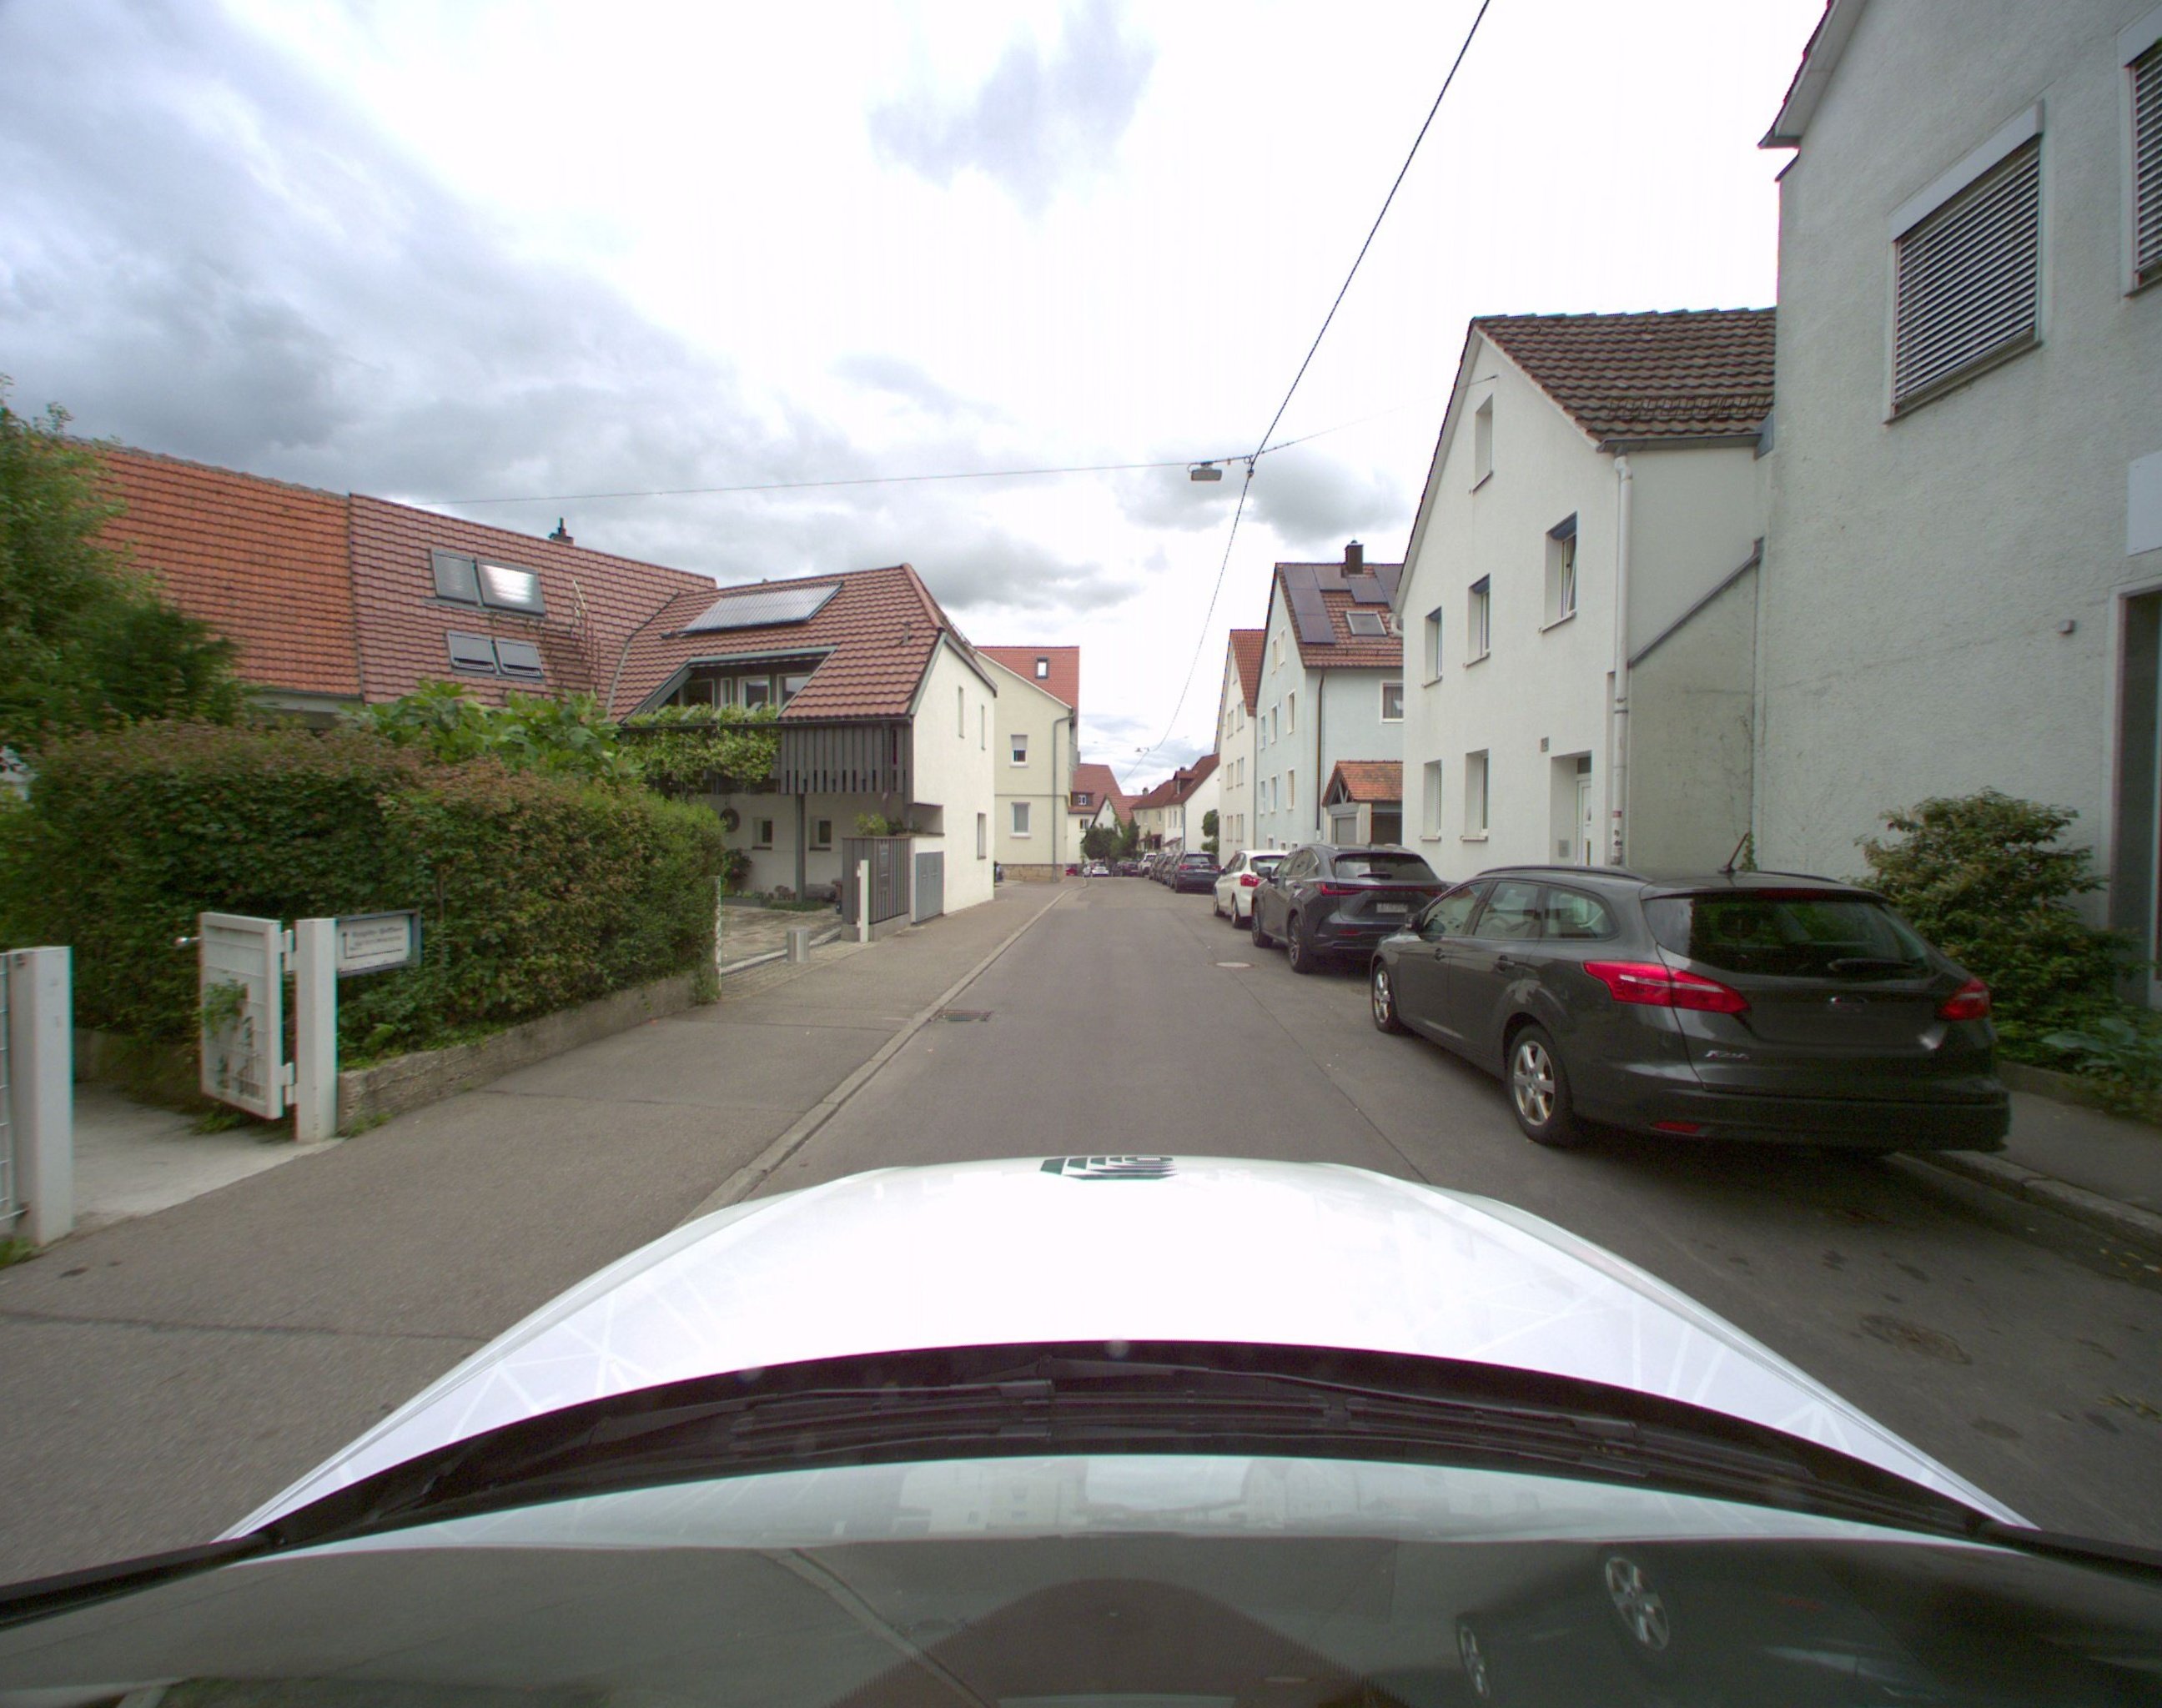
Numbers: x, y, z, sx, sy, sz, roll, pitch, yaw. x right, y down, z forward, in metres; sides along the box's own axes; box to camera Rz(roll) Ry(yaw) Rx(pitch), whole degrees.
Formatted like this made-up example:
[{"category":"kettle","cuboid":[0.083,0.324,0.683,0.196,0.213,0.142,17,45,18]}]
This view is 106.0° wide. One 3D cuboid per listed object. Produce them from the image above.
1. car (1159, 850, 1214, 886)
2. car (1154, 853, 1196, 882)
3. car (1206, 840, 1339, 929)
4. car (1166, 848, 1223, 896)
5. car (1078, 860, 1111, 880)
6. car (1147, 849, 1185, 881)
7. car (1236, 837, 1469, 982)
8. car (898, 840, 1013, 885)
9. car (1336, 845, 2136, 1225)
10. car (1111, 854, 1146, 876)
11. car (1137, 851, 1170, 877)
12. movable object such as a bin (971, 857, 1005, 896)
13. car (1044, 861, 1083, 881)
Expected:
[{"category":"car","cuboid":[4.520,0.577,35.501,1.911,1.410,4.657,-1,0,1]},{"category":"car","cuboid":[4.654,0.668,40.843,1.790,1.352,4.076,1,-1,2]},{"category":"car","cuboid":[3.928,0.542,17.600,1.985,1.615,4.883,2,1,4]},{"category":"car","cuboid":[4.215,0.631,30.779,1.746,1.628,4.539,2,0,3]},{"category":"car","cuboid":[1.221,1.436,75.882,1.967,1.713,3.978,1,1,-16]},{"category":"car","cuboid":[4.759,0.621,46.064,1.730,1.610,3.999,3,-1,0]},{"category":"car","cuboid":[3.553,0.619,11.720,1.856,1.633,4.903,0,0,2]},{"category":"car","cuboid":[-4.574,0.329,30.088,3.712,1.411,2.124,3,-1,6]},{"category":"car","cuboid":[3.413,0.710,5.736,1.940,1.508,4.824,1,1,3]},{"category":"car","cuboid":[3.875,0.943,66.883,1.994,1.713,3.986,0,-2,-10]},{"category":"car","cuboid":[4.926,0.689,55.828,1.867,1.713,4.145,0,-1,-1]},{"category":"movable object such as a bin","cuboid":[-2.664,0.641,23.255,0.609,1.076,0.757,3,0,24]},{"category":"car","cuboid":[-1.792,1.700,81.383,2.008,1.683,3.958,-6,0,-33]}]
